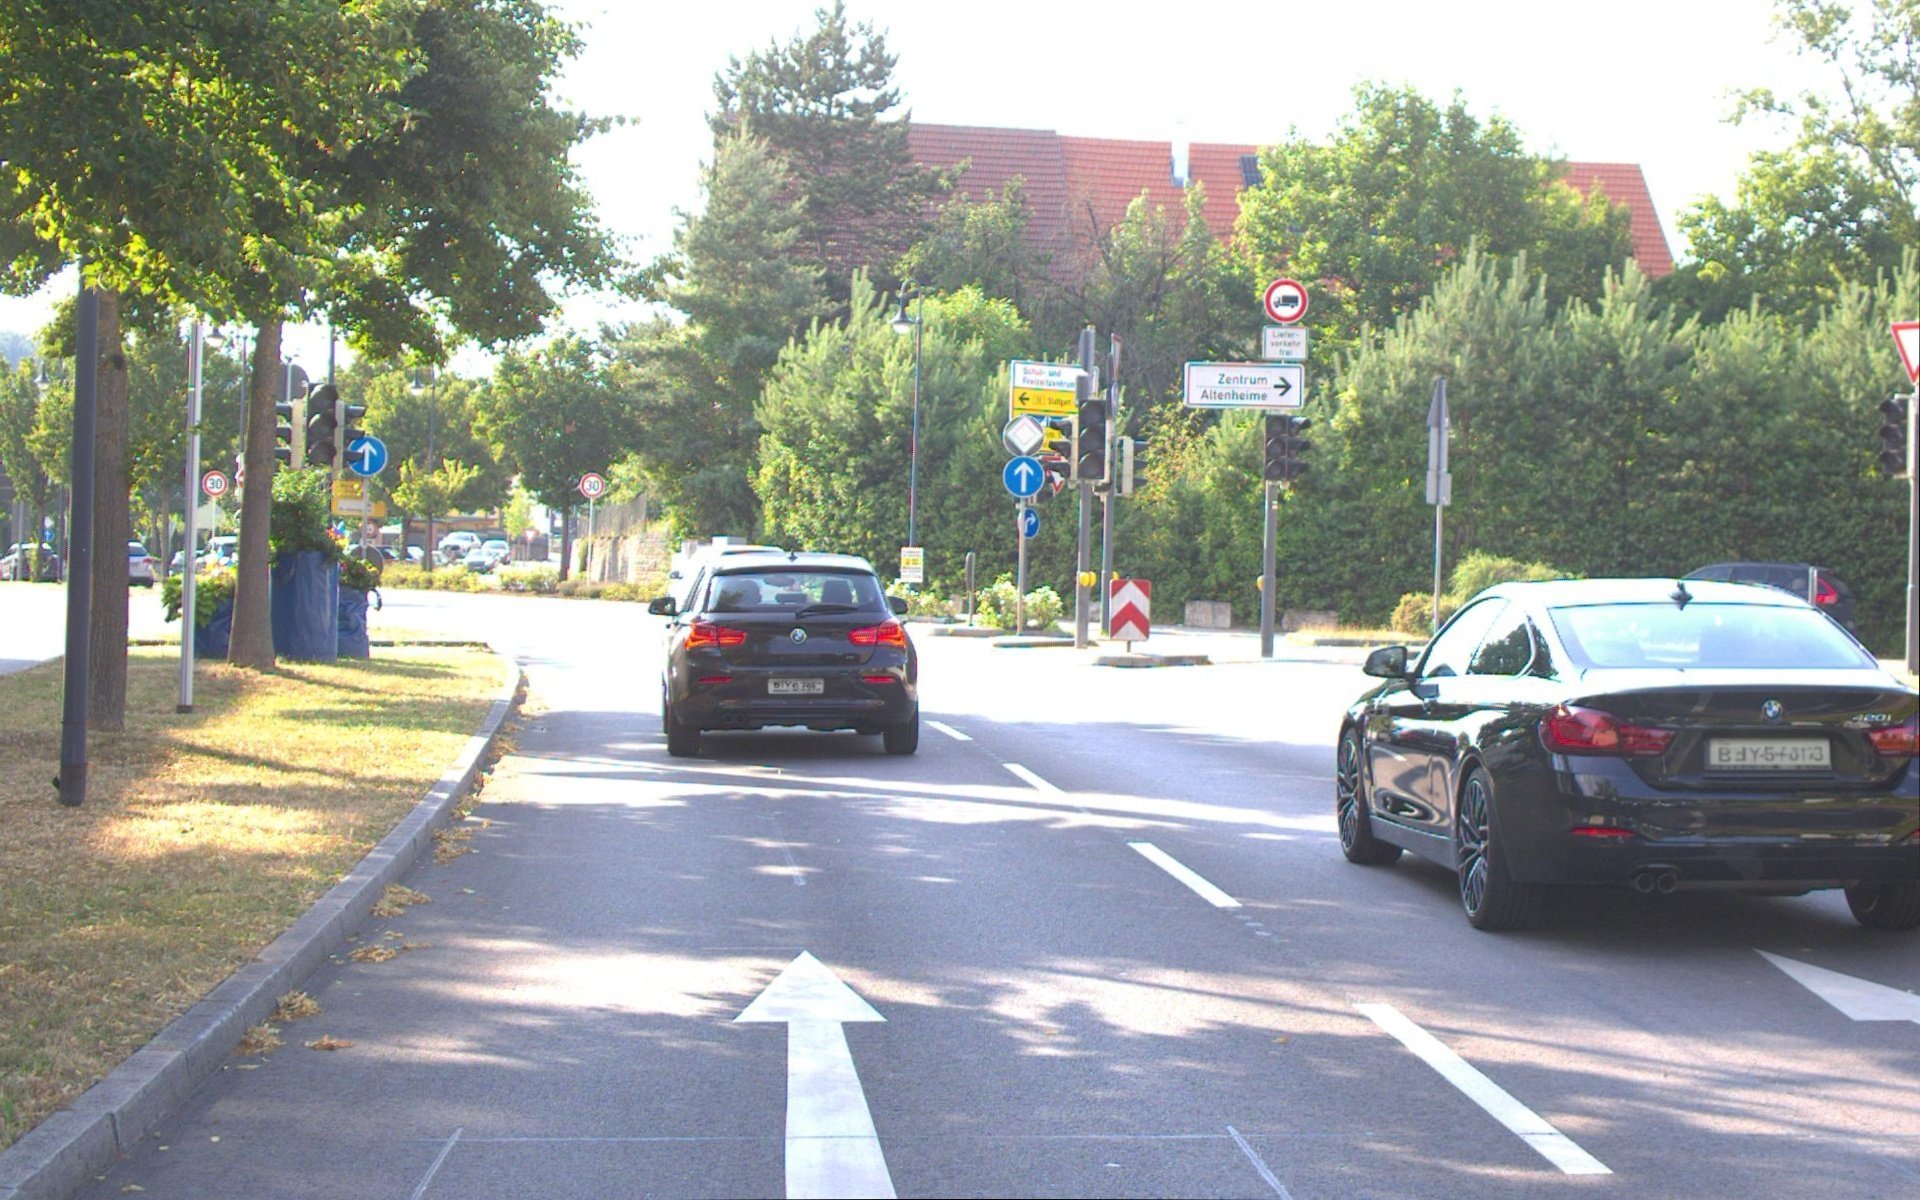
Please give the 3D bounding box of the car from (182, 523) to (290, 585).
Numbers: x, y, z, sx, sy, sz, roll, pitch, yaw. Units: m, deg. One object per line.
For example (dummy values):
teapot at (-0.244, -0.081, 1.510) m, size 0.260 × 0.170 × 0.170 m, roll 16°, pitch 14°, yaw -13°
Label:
car at (-21.193, -1.345, 100.520) m, size 2.216 × 1.763 × 4.455 m, roll 0°, pitch 1°, yaw -24°

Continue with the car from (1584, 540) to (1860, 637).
car at (13.048, -0.214, 58.891) m, size 4.264 × 1.561 × 1.790 m, roll 1°, pitch 1°, yaw 28°

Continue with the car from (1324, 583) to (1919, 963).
car at (2.863, 0.623, 14.689) m, size 1.920 × 1.359 × 4.353 m, roll 0°, pitch 0°, yaw -3°

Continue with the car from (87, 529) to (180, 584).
car at (-27.288, -1.450, 113.395) m, size 2.216 × 1.763 × 4.455 m, roll 0°, pitch 1°, yaw -24°

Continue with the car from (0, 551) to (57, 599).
car at (-35.554, -0.949, 129.678) m, size 2.216 × 1.763 × 4.455 m, roll 0°, pitch 1°, yaw -24°

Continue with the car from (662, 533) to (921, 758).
car at (-1.172, 0.287, 25.477) m, size 1.721 × 1.485 × 4.353 m, roll 1°, pitch 1°, yaw -1°

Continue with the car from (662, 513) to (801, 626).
car at (-3.789, -0.507, 56.457) m, size 1.924 × 1.763 × 4.455 m, roll 1°, pitch 1°, yaw -8°
